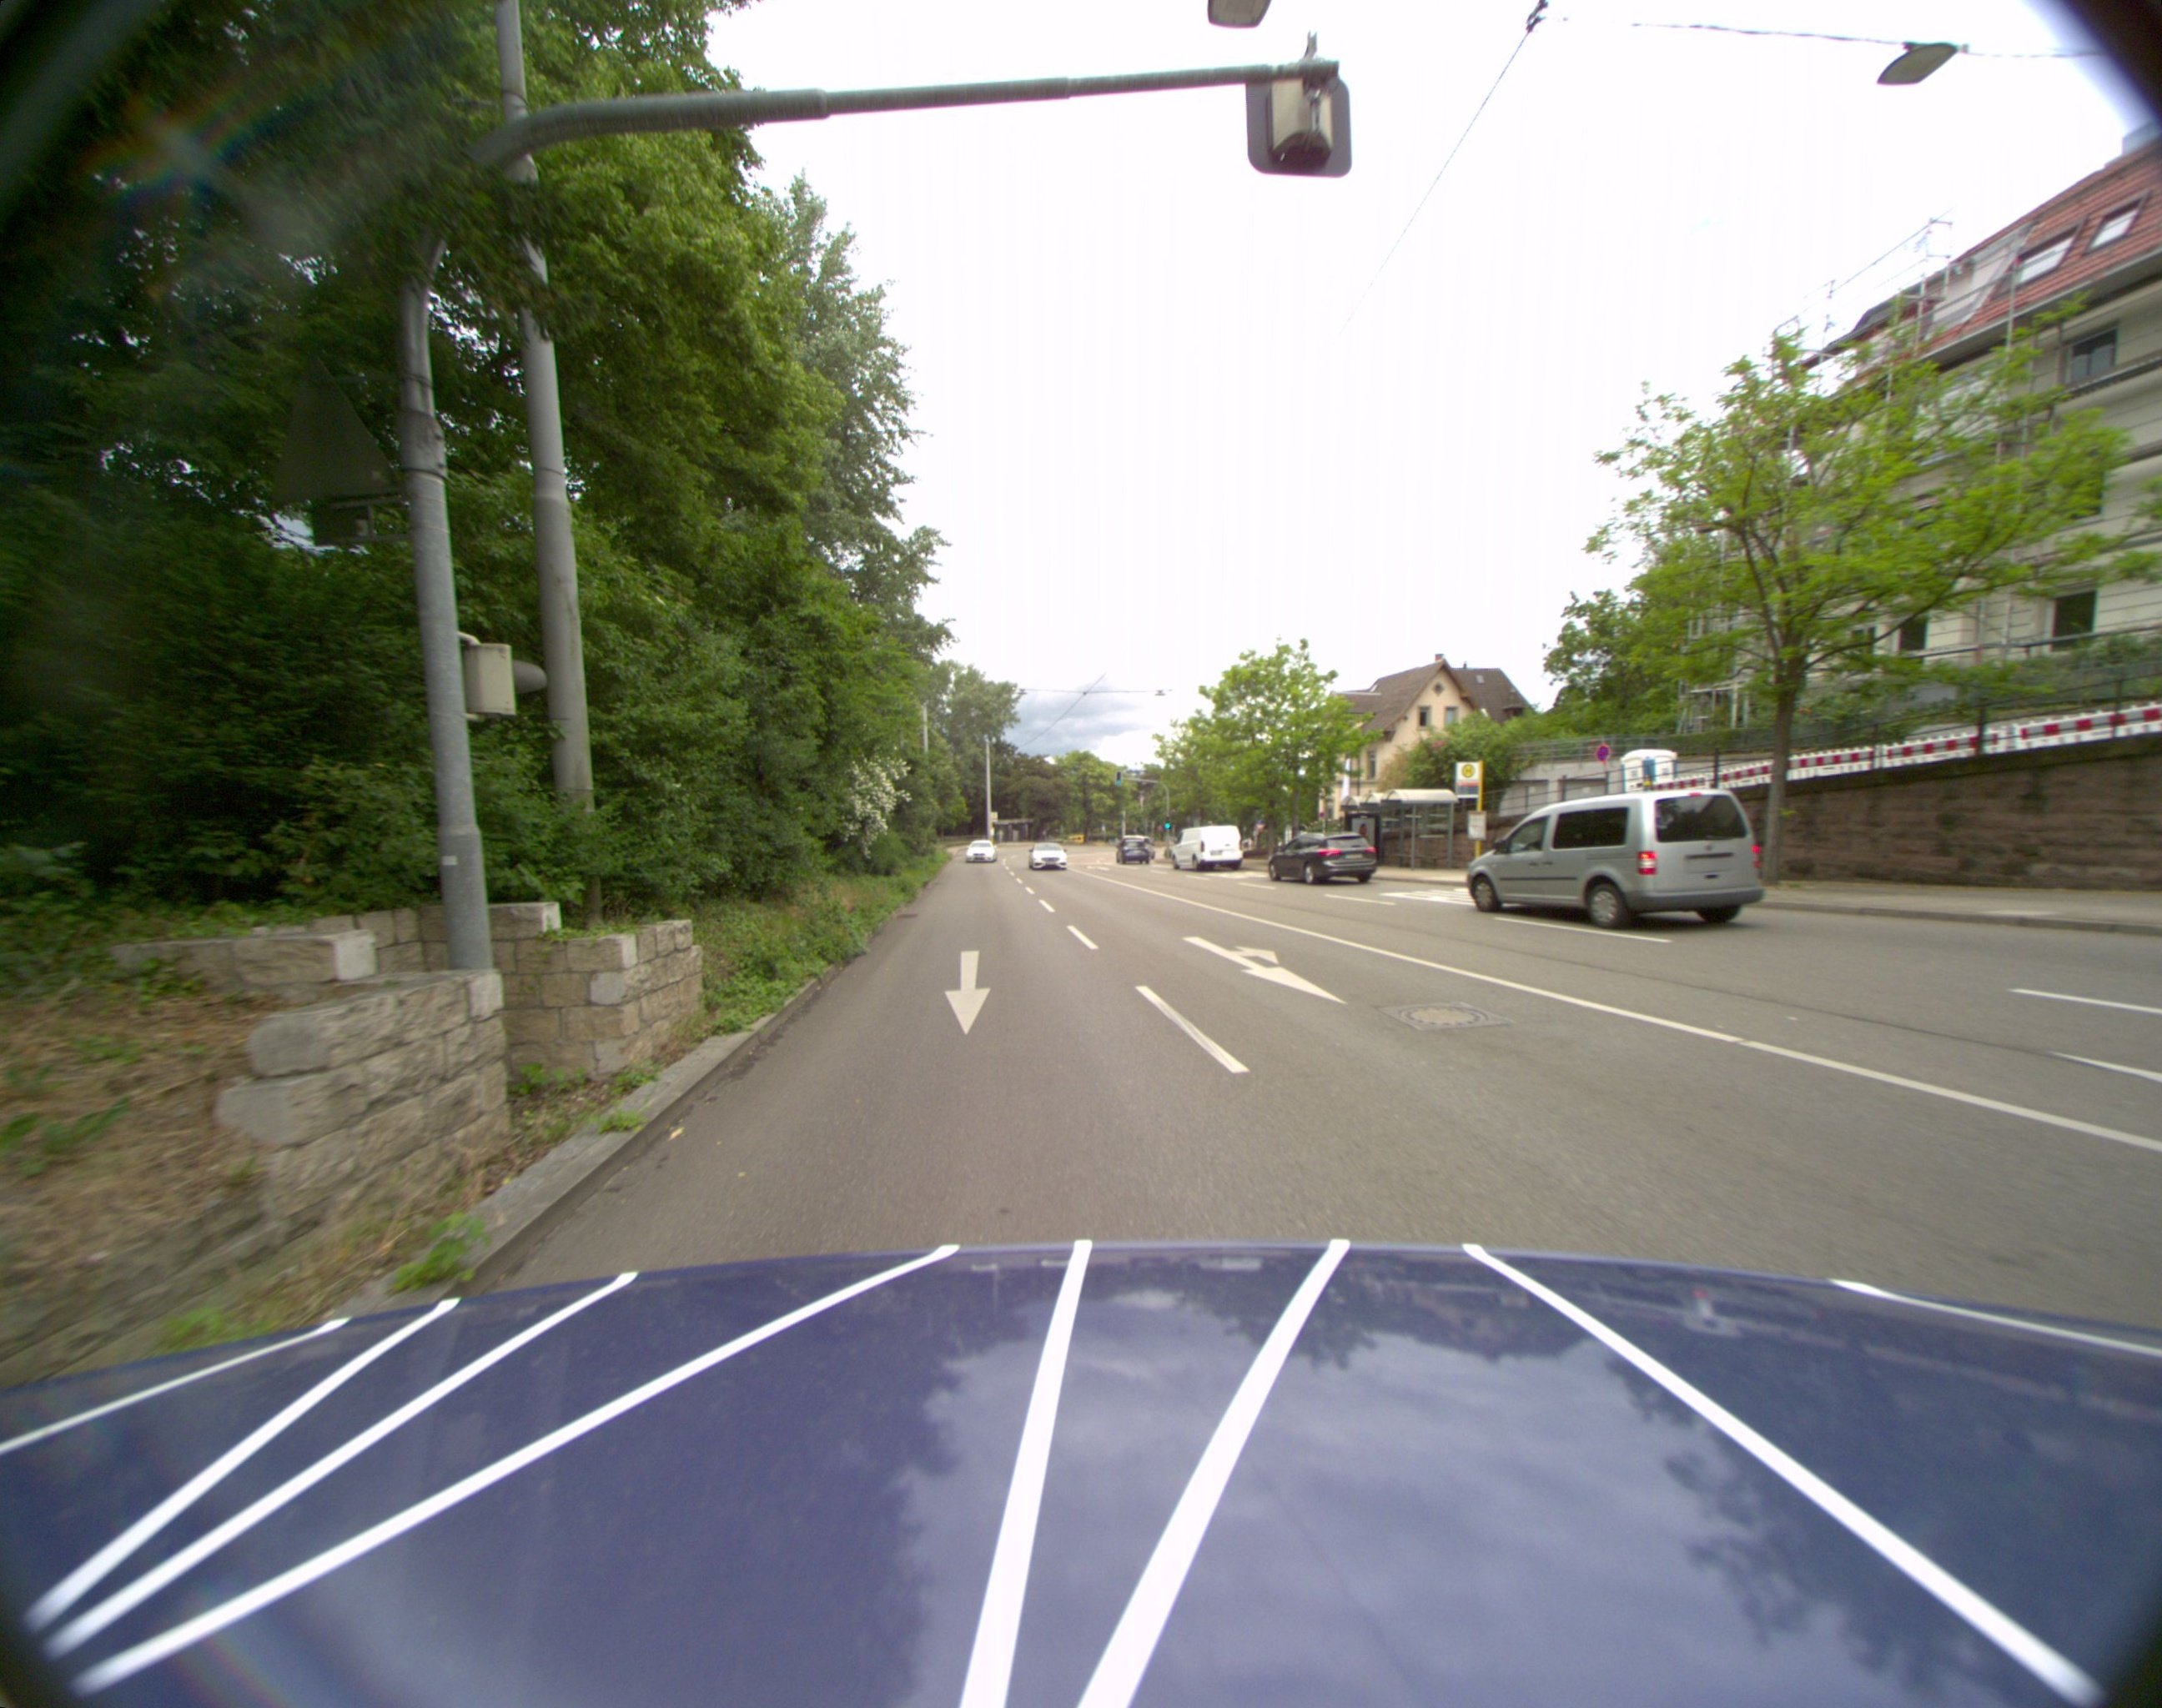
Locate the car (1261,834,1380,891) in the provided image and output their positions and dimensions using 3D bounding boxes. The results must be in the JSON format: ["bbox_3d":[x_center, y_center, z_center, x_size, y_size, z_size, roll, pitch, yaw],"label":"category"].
[{"bbox_3d":[7.010,0.193,22.814,1.662,1.465,4.609,-3,1,-6],"label":"car"}]

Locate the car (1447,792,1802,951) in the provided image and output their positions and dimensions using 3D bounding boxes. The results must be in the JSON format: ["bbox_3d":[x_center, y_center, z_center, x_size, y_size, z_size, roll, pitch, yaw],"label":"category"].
[{"bbox_3d":[7.703,0.175,11.450,1.862,1.804,4.447,-4,1,-4],"label":"car"}]

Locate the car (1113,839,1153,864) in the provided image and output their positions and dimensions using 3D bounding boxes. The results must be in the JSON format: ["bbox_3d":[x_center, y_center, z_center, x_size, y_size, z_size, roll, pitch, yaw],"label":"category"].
[{"bbox_3d":[3.272,-0.183,48.464,1.699,1.483,3.798,-2,1,-8],"label":"car"}]

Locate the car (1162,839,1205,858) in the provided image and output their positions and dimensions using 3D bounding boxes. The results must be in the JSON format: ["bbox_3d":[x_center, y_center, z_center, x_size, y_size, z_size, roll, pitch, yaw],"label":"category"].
[{"bbox_3d":[8.128,-0.425,60.459,3.134,1.464,1.547,0,2,-7],"label":"car"}]

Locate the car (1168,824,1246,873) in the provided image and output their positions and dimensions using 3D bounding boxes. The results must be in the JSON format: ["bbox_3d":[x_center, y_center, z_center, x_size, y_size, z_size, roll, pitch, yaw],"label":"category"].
[{"bbox_3d":[5.711,-0.238,35.152,2.000,2.002,5.420,-3,1,-7],"label":"car"}]

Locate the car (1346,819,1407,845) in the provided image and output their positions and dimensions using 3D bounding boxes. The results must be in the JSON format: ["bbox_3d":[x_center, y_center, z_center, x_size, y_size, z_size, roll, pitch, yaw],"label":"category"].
[{"bbox_3d":[16.965,-1.245,43.840,1.710,1.413,3.631,1,1,-7],"label":"car"}]

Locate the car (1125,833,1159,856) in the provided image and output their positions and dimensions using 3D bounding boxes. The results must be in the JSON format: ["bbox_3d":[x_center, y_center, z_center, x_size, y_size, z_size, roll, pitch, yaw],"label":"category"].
[{"bbox_3d":[5.153,-0.822,63.846,1.796,1.854,4.856,0,1,17],"label":"car"}]

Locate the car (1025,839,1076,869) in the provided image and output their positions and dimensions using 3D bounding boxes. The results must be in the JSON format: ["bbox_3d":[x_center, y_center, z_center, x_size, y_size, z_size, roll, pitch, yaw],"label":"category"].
[{"bbox_3d":[-1.704,-0.029,40.989,1.919,1.470,4.519,-1,2,-14],"label":"car"}]

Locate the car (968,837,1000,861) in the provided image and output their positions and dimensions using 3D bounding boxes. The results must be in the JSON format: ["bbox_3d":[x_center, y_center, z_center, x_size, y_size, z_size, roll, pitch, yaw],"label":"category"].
[{"bbox_3d":[-6.686,-0.386,52.075,1.918,1.543,4.520,-1,2,-11],"label":"car"}]
